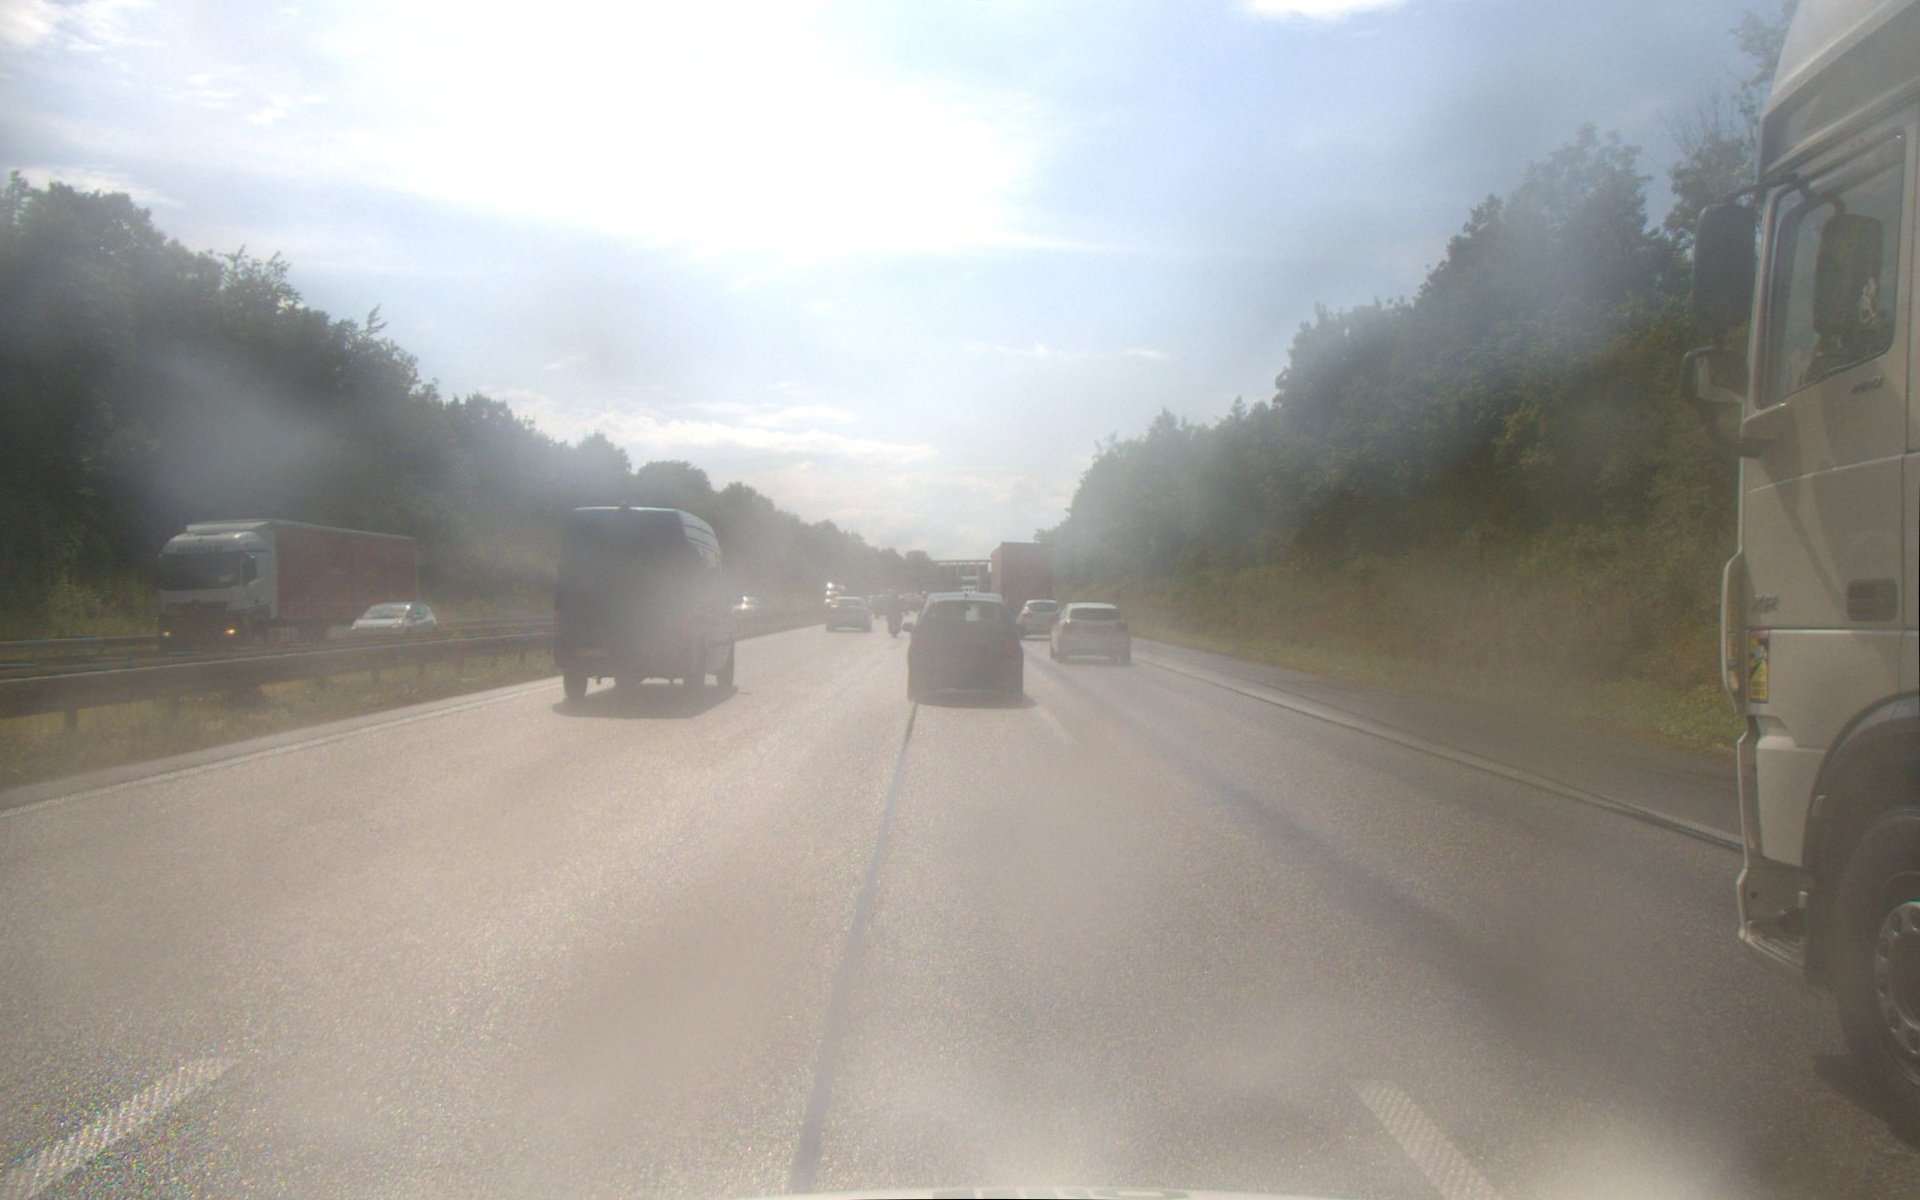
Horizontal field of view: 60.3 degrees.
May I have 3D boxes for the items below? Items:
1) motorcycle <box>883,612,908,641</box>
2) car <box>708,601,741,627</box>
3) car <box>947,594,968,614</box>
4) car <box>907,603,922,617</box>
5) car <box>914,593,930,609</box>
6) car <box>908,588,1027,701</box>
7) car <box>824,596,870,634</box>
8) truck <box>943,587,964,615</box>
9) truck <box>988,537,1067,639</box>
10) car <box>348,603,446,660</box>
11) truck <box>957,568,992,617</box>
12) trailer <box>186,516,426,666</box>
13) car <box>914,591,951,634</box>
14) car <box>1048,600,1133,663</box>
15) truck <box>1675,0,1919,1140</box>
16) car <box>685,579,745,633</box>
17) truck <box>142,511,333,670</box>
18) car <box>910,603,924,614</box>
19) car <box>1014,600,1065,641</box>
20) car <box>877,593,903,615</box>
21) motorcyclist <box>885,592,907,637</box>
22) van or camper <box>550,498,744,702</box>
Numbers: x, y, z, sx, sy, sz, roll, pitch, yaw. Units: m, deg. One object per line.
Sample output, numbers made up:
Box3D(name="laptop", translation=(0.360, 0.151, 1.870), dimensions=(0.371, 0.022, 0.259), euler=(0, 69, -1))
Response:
Box3D(name="motorcycle", translation=(-2.456, 0.996, 62.832), dimensions=(0.872, 1.018, 2.895), euler=(1, 0, -1))
Box3D(name="car", translation=(-15.761, 0.937, 110.799), dimensions=(1.696, 1.692, 4.235), euler=(1, 0, -1))
Box3D(name="car", translation=(-0.197, 0.299, 120.893), dimensions=(1.521, 1.407, 3.209), euler=(1, 0, -1))
Box3D(name="car", translation=(-4.712, 0.982, 171.431), dimensions=(1.455, 1.414, 3.197), euler=(1, 0, -1))
Box3D(name="car", translation=(-4.935, 0.116, 215.759), dimensions=(1.953, 2.049, 3.999), euler=(0, 0, -1))
Box3D(name="car", translation=(0.078, 0.649, 25.535), dimensions=(1.683, 1.595, 3.484), euler=(1, 0, -1))
Box3D(name="car", translation=(-4.900, 0.656, 72.030), dimensions=(1.817, 1.578, 3.484), euler=(1, 0, -1))
Box3D(name="truck", translation=(-0.675, 0.114, 177.466), dimensions=(2.147, 2.926, 4.848), euler=(1, 0, -1))
Box3D(name="truck", translation=(3.367, -0.531, 87.078), dimensions=(3.575, 4.803, 16.779), euler=(1, 0, 1))
Box3D(name="car", translation=(-17.595, 0.944, 51.864), dimensions=(1.665, 1.692, 4.235), euler=(1, 0, -1))
Box3D(name="truck", translation=(1.439, -0.670, 162.512), dimensions=(3.189, 4.558, 12.421), euler=(1, 0, 1))
Box3D(name="trailer", translation=(-21.892, -0.238, 56.667), dimensions=(2.805, 4.449, 14.089), euler=(1, 0, -1))
Box3D(name="car", translation=(-1.187, 0.531, 70.808), dimensions=(1.500, 1.777, 3.484), euler=(1, 0, -1))
Box3D(name="car", translation=(3.175, 0.744, 40.875), dimensions=(1.658, 1.450, 4.219), euler=(1, 0, -1))
Box3D(name="truck", translation=(3.954, -0.522, 2.561), dimensions=(2.553, 4.065, 7.290), euler=(1, 0, 0))
Box3D(name="car", translation=(-11.958, 0.305, 81.092), dimensions=(2.139, 2.495, 5.746), euler=(1, 0, -1))
Box3D(name="truck", translation=(-21.776, -0.259, 50.320), dimensions=(2.805, 4.449, 6.866), euler=(1, 0, -1))
Box3D(name="car", translation=(-5.049, 0.968, 194.625), dimensions=(1.518, 1.289, 3.483), euler=(1, 0, -2))
Box3D(name="car", translation=(3.004, 0.770, 63.048), dimensions=(1.646, 1.467, 3.904), euler=(1, 0, -1))
Box3D(name="car", translation=(-4.938, 0.295, 117.304), dimensions=(1.716, 1.482, 3.389), euler=(1, 0, -1))
Box3D(name="motorcyclist", translation=(-2.434, 0.541, 62.791), dimensions=(0.785, 1.662, 1.013), euler=(1, 0, -1))
Box3D(name="van or camper", translation=(-4.569, 0.007, 24.964), dimensions=(1.953, 2.715, 5.383), euler=(1, 0, -1))
